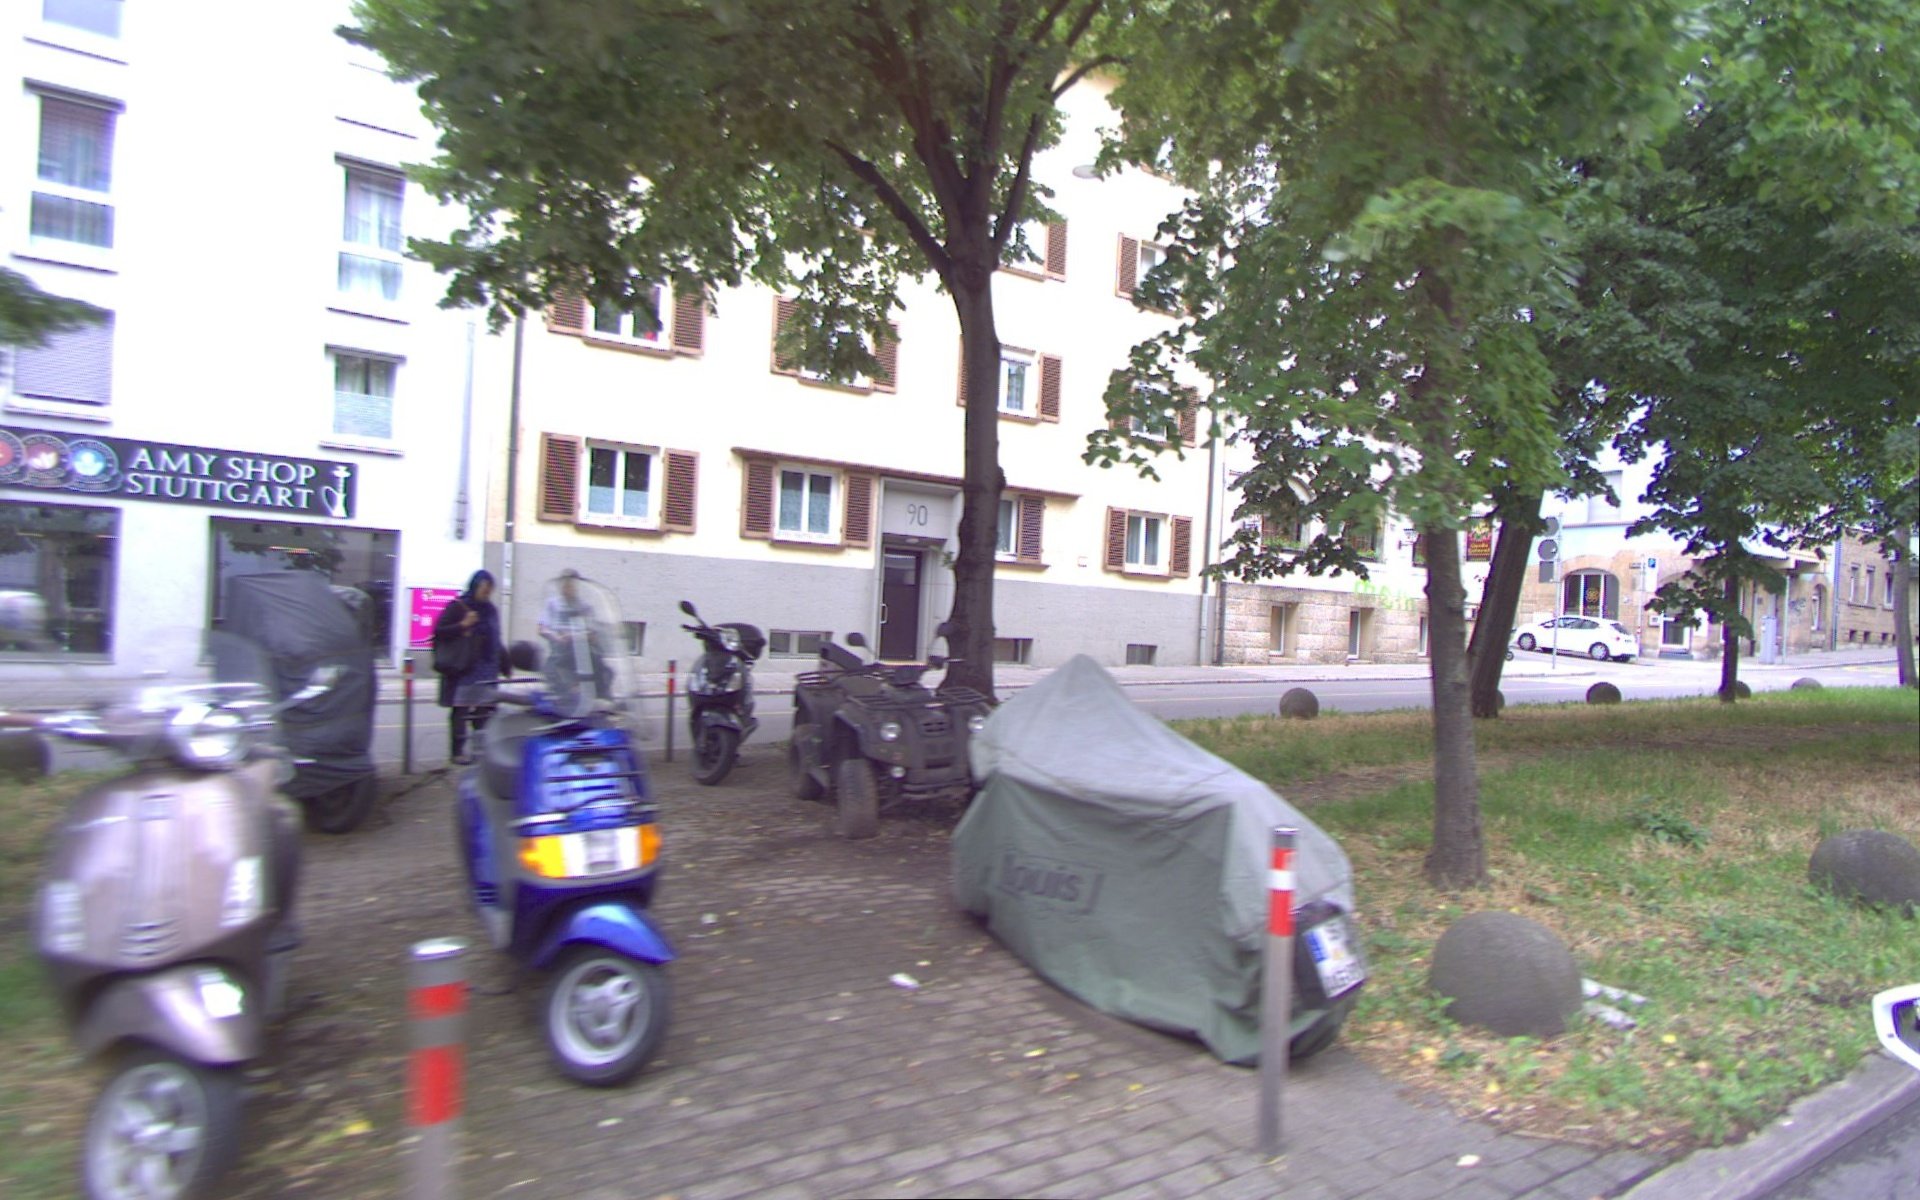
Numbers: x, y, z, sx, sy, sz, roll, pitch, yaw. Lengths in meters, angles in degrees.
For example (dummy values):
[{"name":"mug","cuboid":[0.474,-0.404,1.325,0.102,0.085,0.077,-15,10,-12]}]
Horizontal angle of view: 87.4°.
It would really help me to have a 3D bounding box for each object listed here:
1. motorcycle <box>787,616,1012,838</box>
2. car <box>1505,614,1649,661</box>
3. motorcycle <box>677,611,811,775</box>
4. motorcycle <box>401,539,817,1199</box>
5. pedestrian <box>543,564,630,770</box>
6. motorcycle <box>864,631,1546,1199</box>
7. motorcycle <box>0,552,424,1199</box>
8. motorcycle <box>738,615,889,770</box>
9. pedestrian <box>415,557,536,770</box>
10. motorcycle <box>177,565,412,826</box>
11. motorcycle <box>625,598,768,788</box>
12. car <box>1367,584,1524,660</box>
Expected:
[{"name":"motorcycle","cuboid":[-0.504,0.767,6.971,0.884,1.252,2.023,1,0,-24]},{"name":"car","cuboid":[22.183,1.323,36.248,1.976,1.517,3.969,1,0,-29]},{"name":"motorcycle","cuboid":[-1.987,0.756,8.989,0.510,1.252,2.099,1,0,-31]},{"name":"motorcycle","cuboid":[-1.253,0.597,3.264,0.863,1.458,2.185,2,0,-27]},{"name":"pedestrian","cuboid":[-3.131,0.531,8.401,0.572,1.638,0.660,1,1,-28]},{"name":"motorcycle","cuboid":[0.637,0.800,3.637,1.022,1.252,2.343,3,-1,-31]},{"name":"motorcycle","cuboid":[-2.154,0.575,2.932,0.883,1.313,1.914,4,-2,-31]},{"name":"motorcycle","cuboid":[-1.409,0.783,9.286,0.615,1.252,2.121,3,-2,-29]},{"name":"pedestrian","cuboid":[-3.959,0.485,8.198,0.757,1.635,0.629,1,1,-38]},{"name":"motorcycle","cuboid":[-4.144,0.486,6.422,1.033,1.335,2.370,1,0,-30]},{"name":"motorcycle","cuboid":[-2.165,0.675,8.092,0.617,1.356,1.753,2,-1,-31]},{"name":"car","cuboid":[17.224,0.715,35.923,1.973,2.080,4.785,1,6,-24]}]
